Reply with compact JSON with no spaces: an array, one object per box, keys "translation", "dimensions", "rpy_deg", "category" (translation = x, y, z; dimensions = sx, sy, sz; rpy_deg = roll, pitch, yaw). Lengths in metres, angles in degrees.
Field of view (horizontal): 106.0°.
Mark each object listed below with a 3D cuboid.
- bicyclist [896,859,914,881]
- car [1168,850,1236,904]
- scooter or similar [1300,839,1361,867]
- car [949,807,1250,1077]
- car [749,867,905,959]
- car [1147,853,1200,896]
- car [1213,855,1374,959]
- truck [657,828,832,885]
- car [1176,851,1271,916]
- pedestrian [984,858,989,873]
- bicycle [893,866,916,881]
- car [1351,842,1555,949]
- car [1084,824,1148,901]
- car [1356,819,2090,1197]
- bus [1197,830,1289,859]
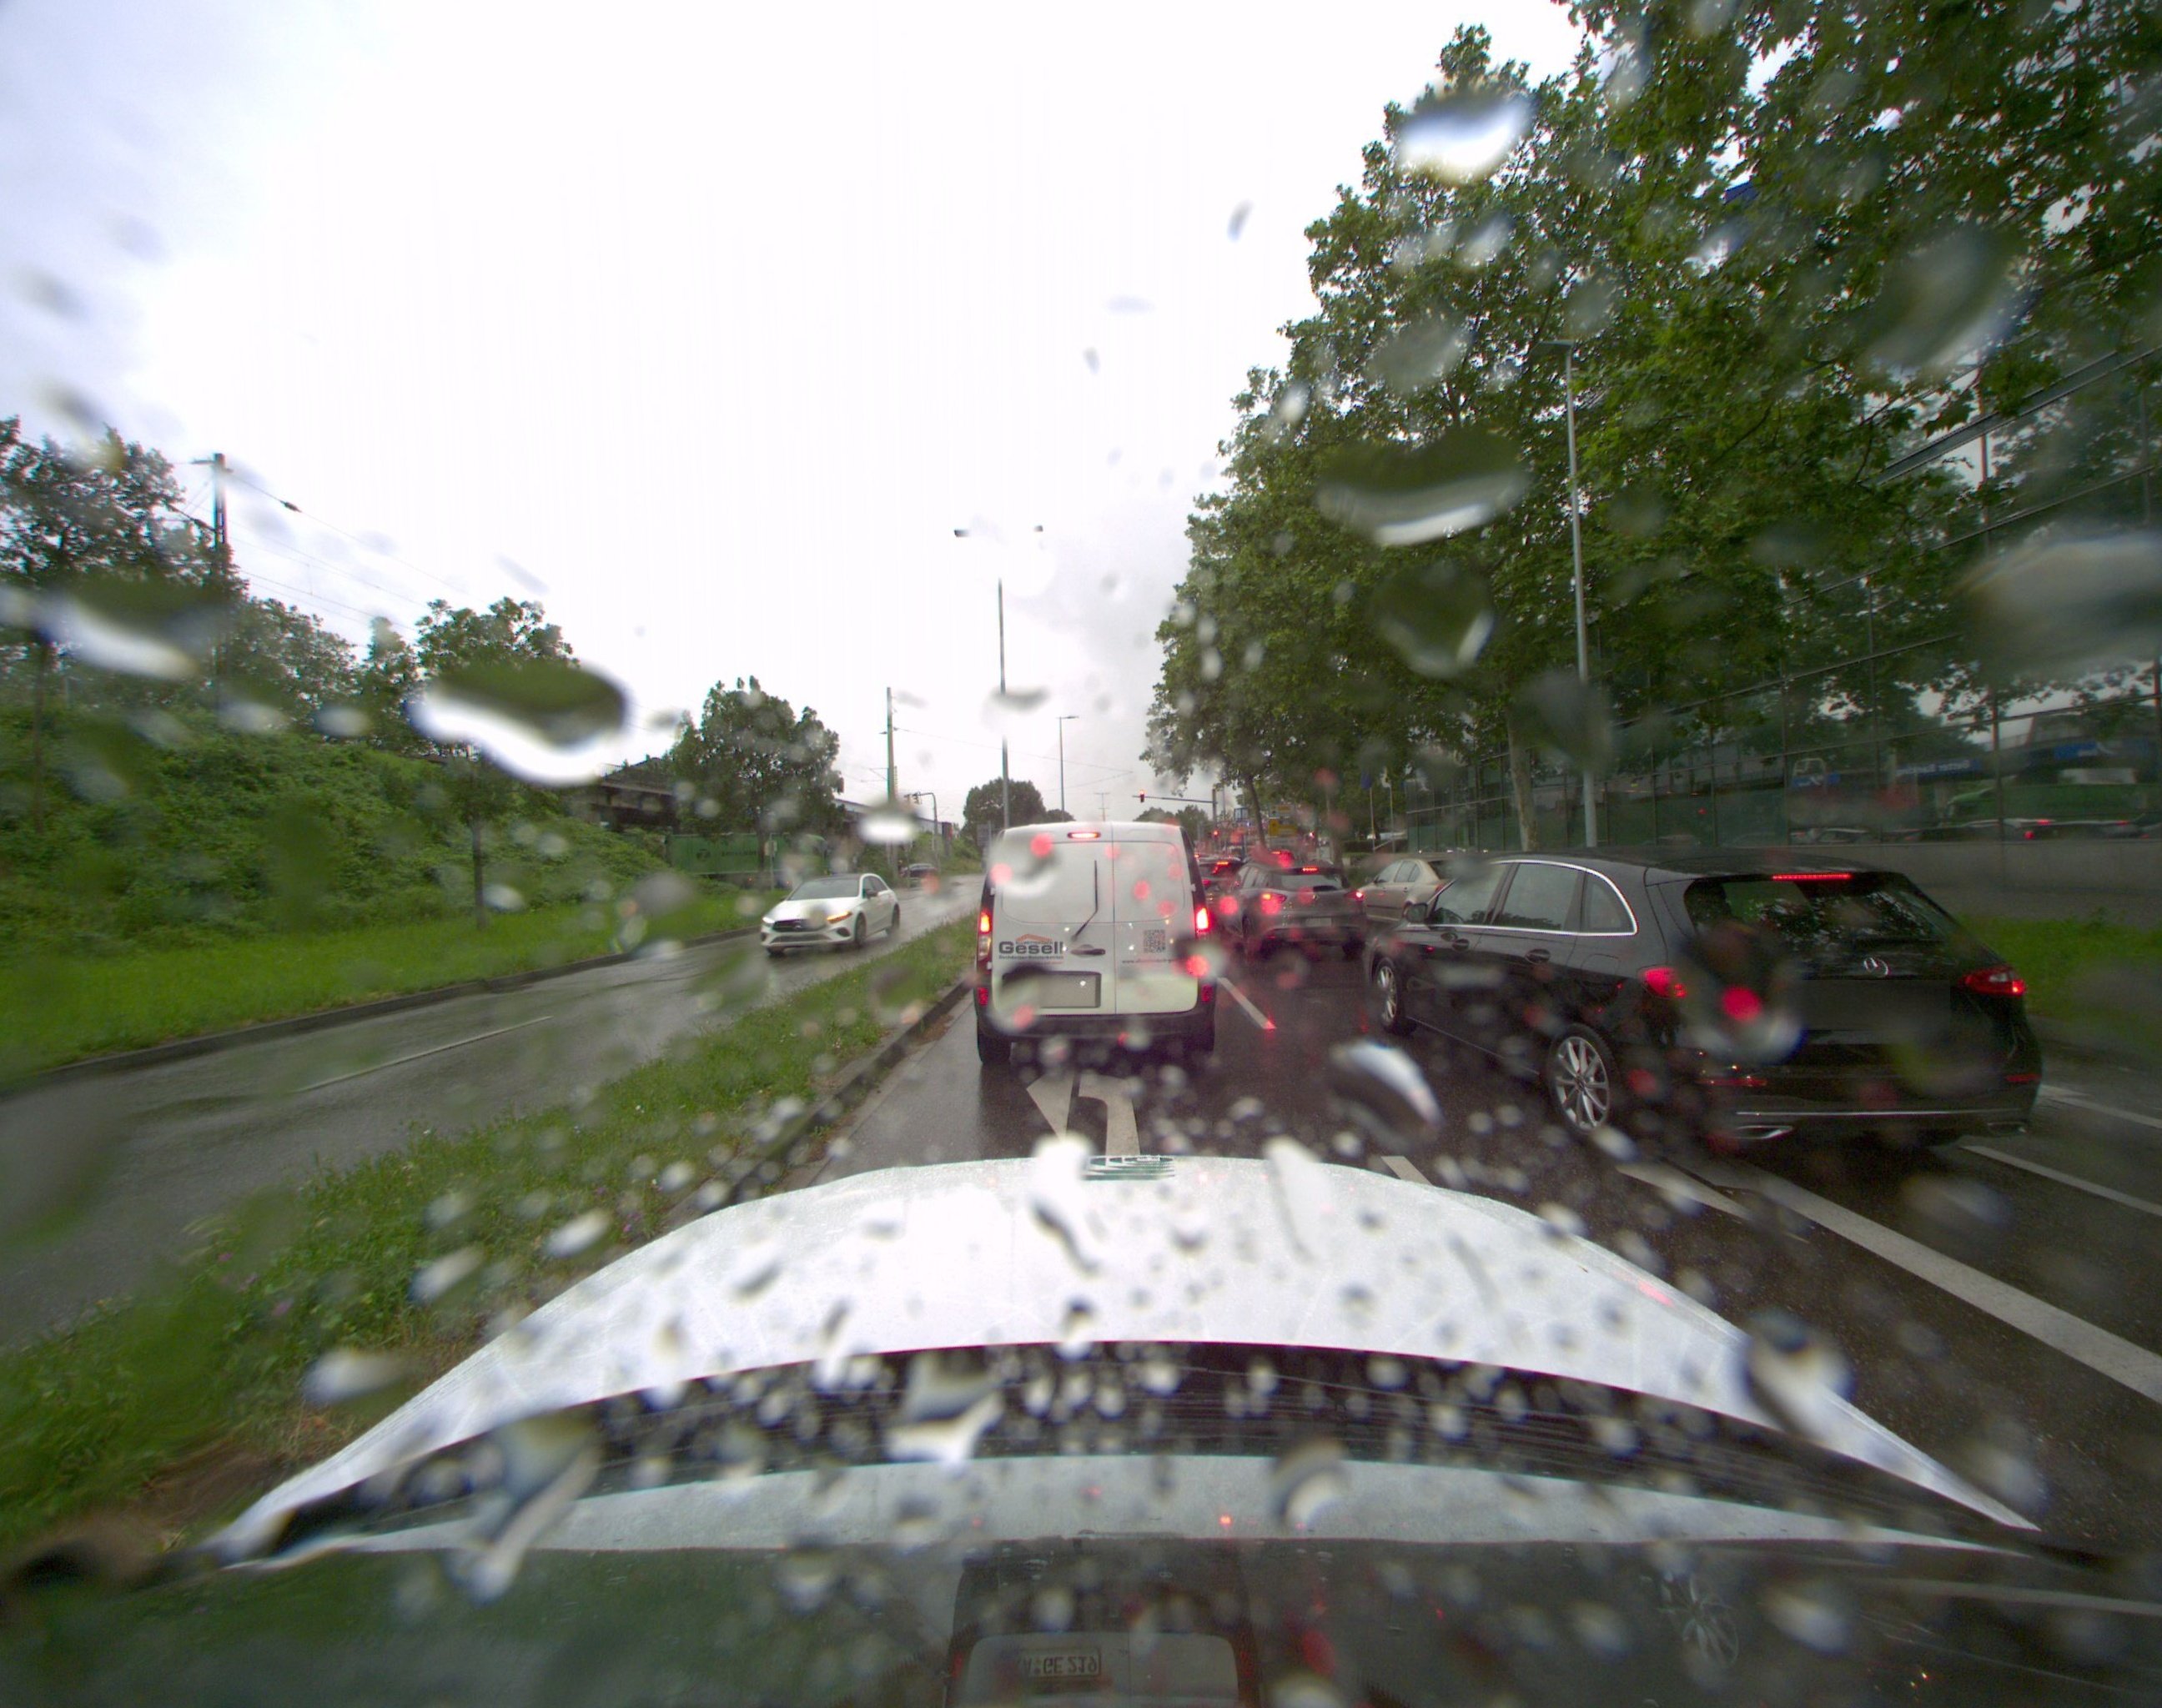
[{"translation":[-12.121,1.085,55.974],"dimensions":[1.045,1.450,0.723],"rpy_deg":[-2,0,-23],"category":"bicyclist"},{"translation":[4.065,0.729,27.911],"dimensions":[1.847,1.649,3.844],"rpy_deg":[-1,0,2],"category":"car"},{"translation":[23.458,-0.077,76.694],"dimensions":[1.905,2.446,5.257],"rpy_deg":[-1,0,-39],"category":"scooter or similar"},{"translation":[0.196,0.590,7.783],"dimensions":[1.986,1.776,4.587],"rpy_deg":[-1,0,2],"category":"car"},{"translation":[-5.014,1.087,16.666],"dimensions":[1.728,1.519,4.048],"rpy_deg":[-4,-1,1],"category":"car"},{"translation":[3.760,0.814,33.585],"dimensions":[1.847,1.650,3.844],"rpy_deg":[-1,-1,2],"category":"car"},{"translation":[3.243,0.732,13.162],"dimensions":[1.677,1.408,3.844],"rpy_deg":[0,0,1],"category":"car"},{"translation":[-21.373,0.071,52.219],"dimensions":[10.105,3.371,2.322],"rpy_deg":[-2,0,-35],"category":"truck"},{"translation":[3.506,0.672,20.692],"dimensions":[1.847,1.460,3.844],"rpy_deg":[-1,0,2],"category":"car"},{"translation":[-11.231,1.368,96.572],"dimensions":[0.541,1.716,0.563],"rpy_deg":[0,-1,-2],"category":"pedestrian"},{"translation":[-12.141,1.334,56.025],"dimensions":[1.045,0.952,2.866],"rpy_deg":[-2,0,-22],"category":"bicycle"},{"translation":[6.317,0.619,14.380],"dimensions":[1.869,1.613,4.002],"rpy_deg":[0,0,2],"category":"car"},{"translation":[1.119,0.255,26.488],"dimensions":[1.847,2.296,3.844],"rpy_deg":[-1,0,2],"category":"car"},{"translation":[3.379,0.648,5.460],"dimensions":[1.741,1.554,4.091],"rpy_deg":[-1,0,1],"category":"car"},{"translation":[21.903,-1.348,110.600],"dimensions":[11.926,3.423,2.316],"rpy_deg":[-2,0,1],"category":"bus"}]
